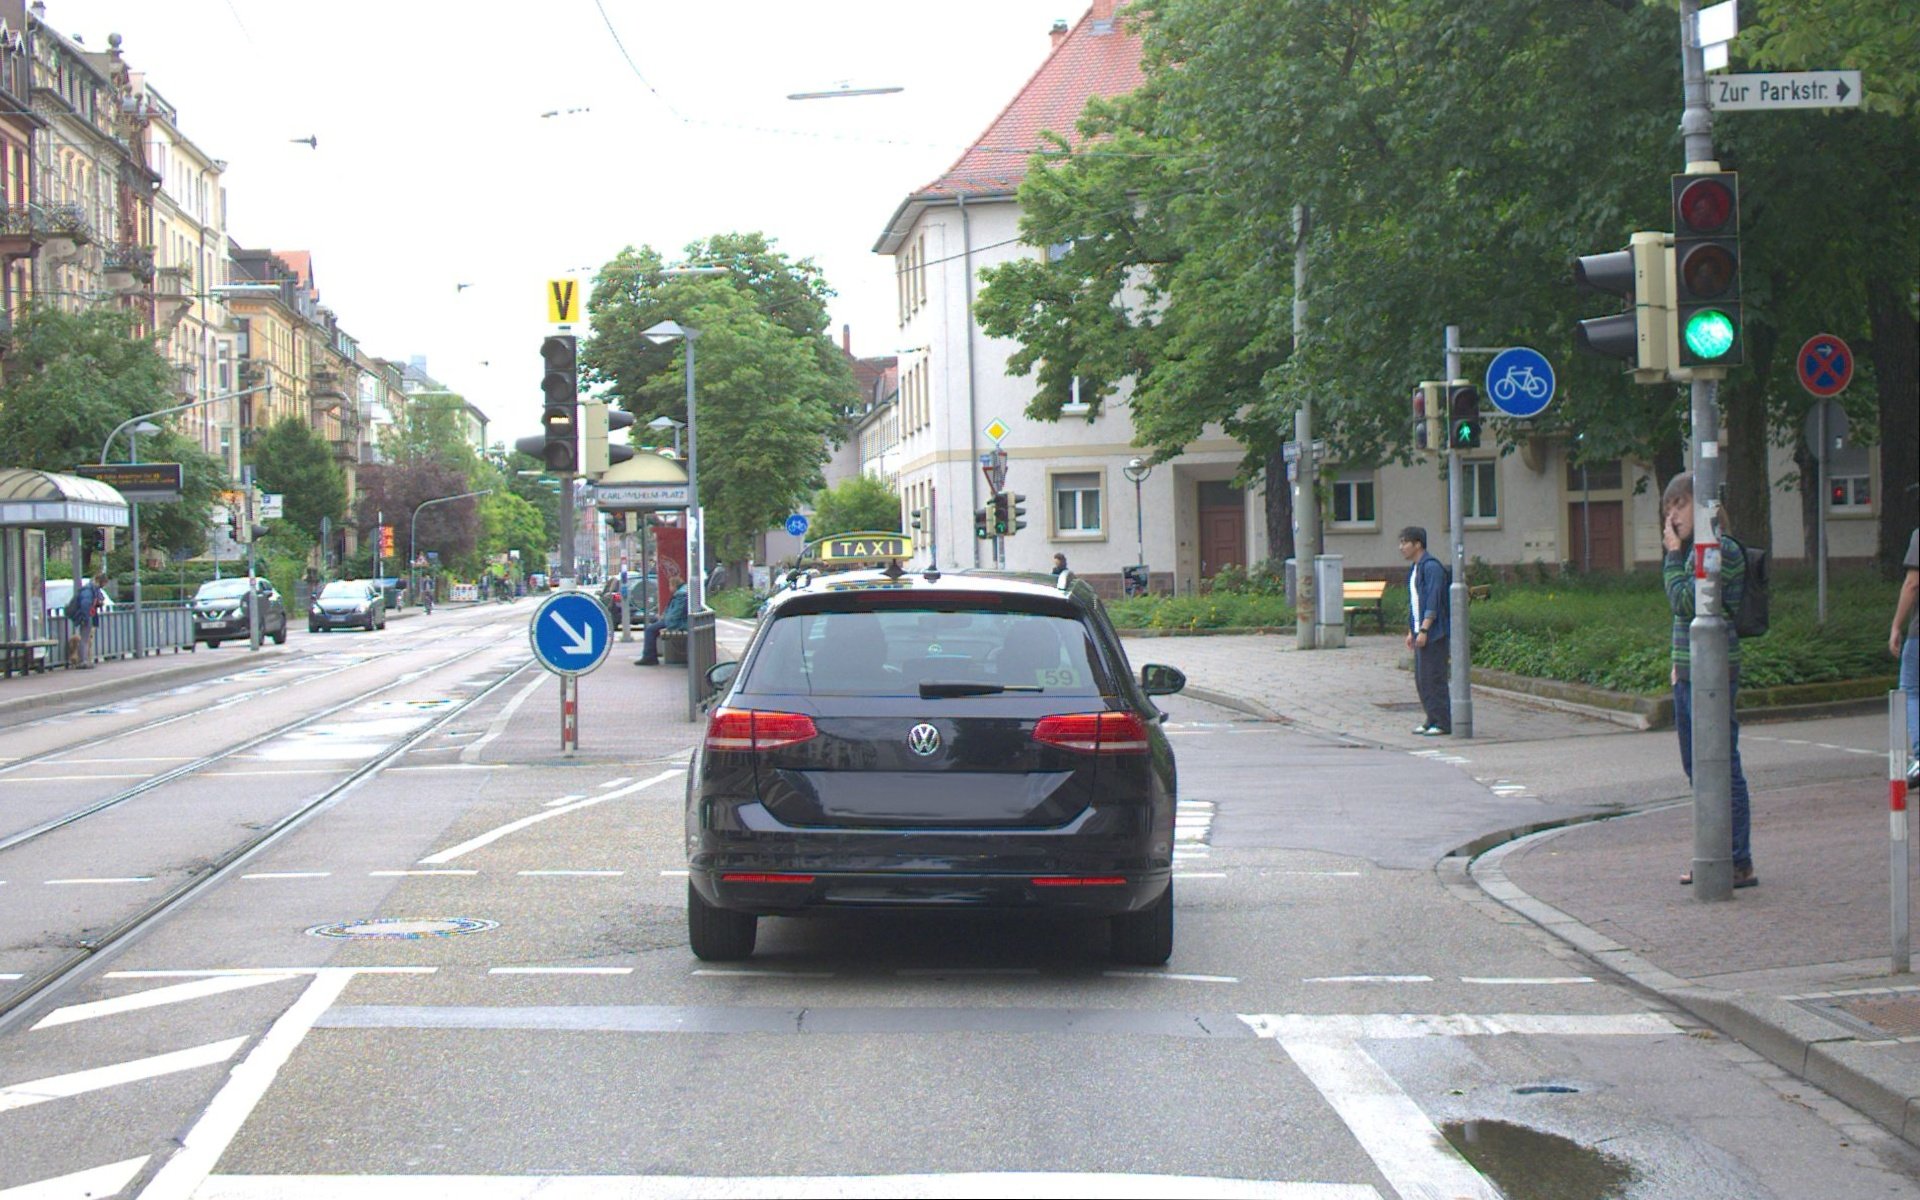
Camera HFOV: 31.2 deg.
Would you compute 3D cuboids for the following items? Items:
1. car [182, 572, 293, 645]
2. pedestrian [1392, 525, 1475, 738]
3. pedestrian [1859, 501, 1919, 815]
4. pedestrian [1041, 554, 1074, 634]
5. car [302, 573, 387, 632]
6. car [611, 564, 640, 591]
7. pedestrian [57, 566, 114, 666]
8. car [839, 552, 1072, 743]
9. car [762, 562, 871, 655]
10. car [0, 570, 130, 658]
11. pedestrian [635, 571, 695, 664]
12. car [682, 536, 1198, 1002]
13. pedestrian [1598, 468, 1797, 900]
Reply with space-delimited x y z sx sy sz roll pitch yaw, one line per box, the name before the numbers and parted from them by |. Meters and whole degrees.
car | -16.556 0.170 78.896 1.795 1.590 4.000 -1 0 -2
pedestrian | 4.157 0.272 30.210 0.514 1.824 0.418 -4 1 -3
pedestrian | 5.730 0.324 20.234 0.632 1.808 0.726 -1 0 -2
pedestrian | 1.894 -0.114 66.986 0.581 1.548 0.609 -1 0 -2
car | -17.474 0.062 97.761 1.795 1.590 4.000 -1 0 -2
car | -25.024 -1.651 257.217 2.032 2.007 4.001 0 0 -5
pedestrian | -13.470 0.247 52.957 0.714 1.515 0.590 -1 0 -3
car | -0.106 0.366 30.286 1.723 1.541 4.001 -1 1 -5
car | -2.528 0.124 59.909 1.723 1.541 4.001 -1 1 -5
car | -17.116 0.244 65.383 1.795 1.590 4.000 -1 0 -2
pedestrian | -4.233 0.246 49.327 0.822 1.300 0.569 -1 0 -5
car | -0.221 0.546 13.603 1.723 1.541 4.001 -1 1 -5
pedestrian | 3.237 0.358 15.123 0.585 1.824 0.604 -4 1 -3
